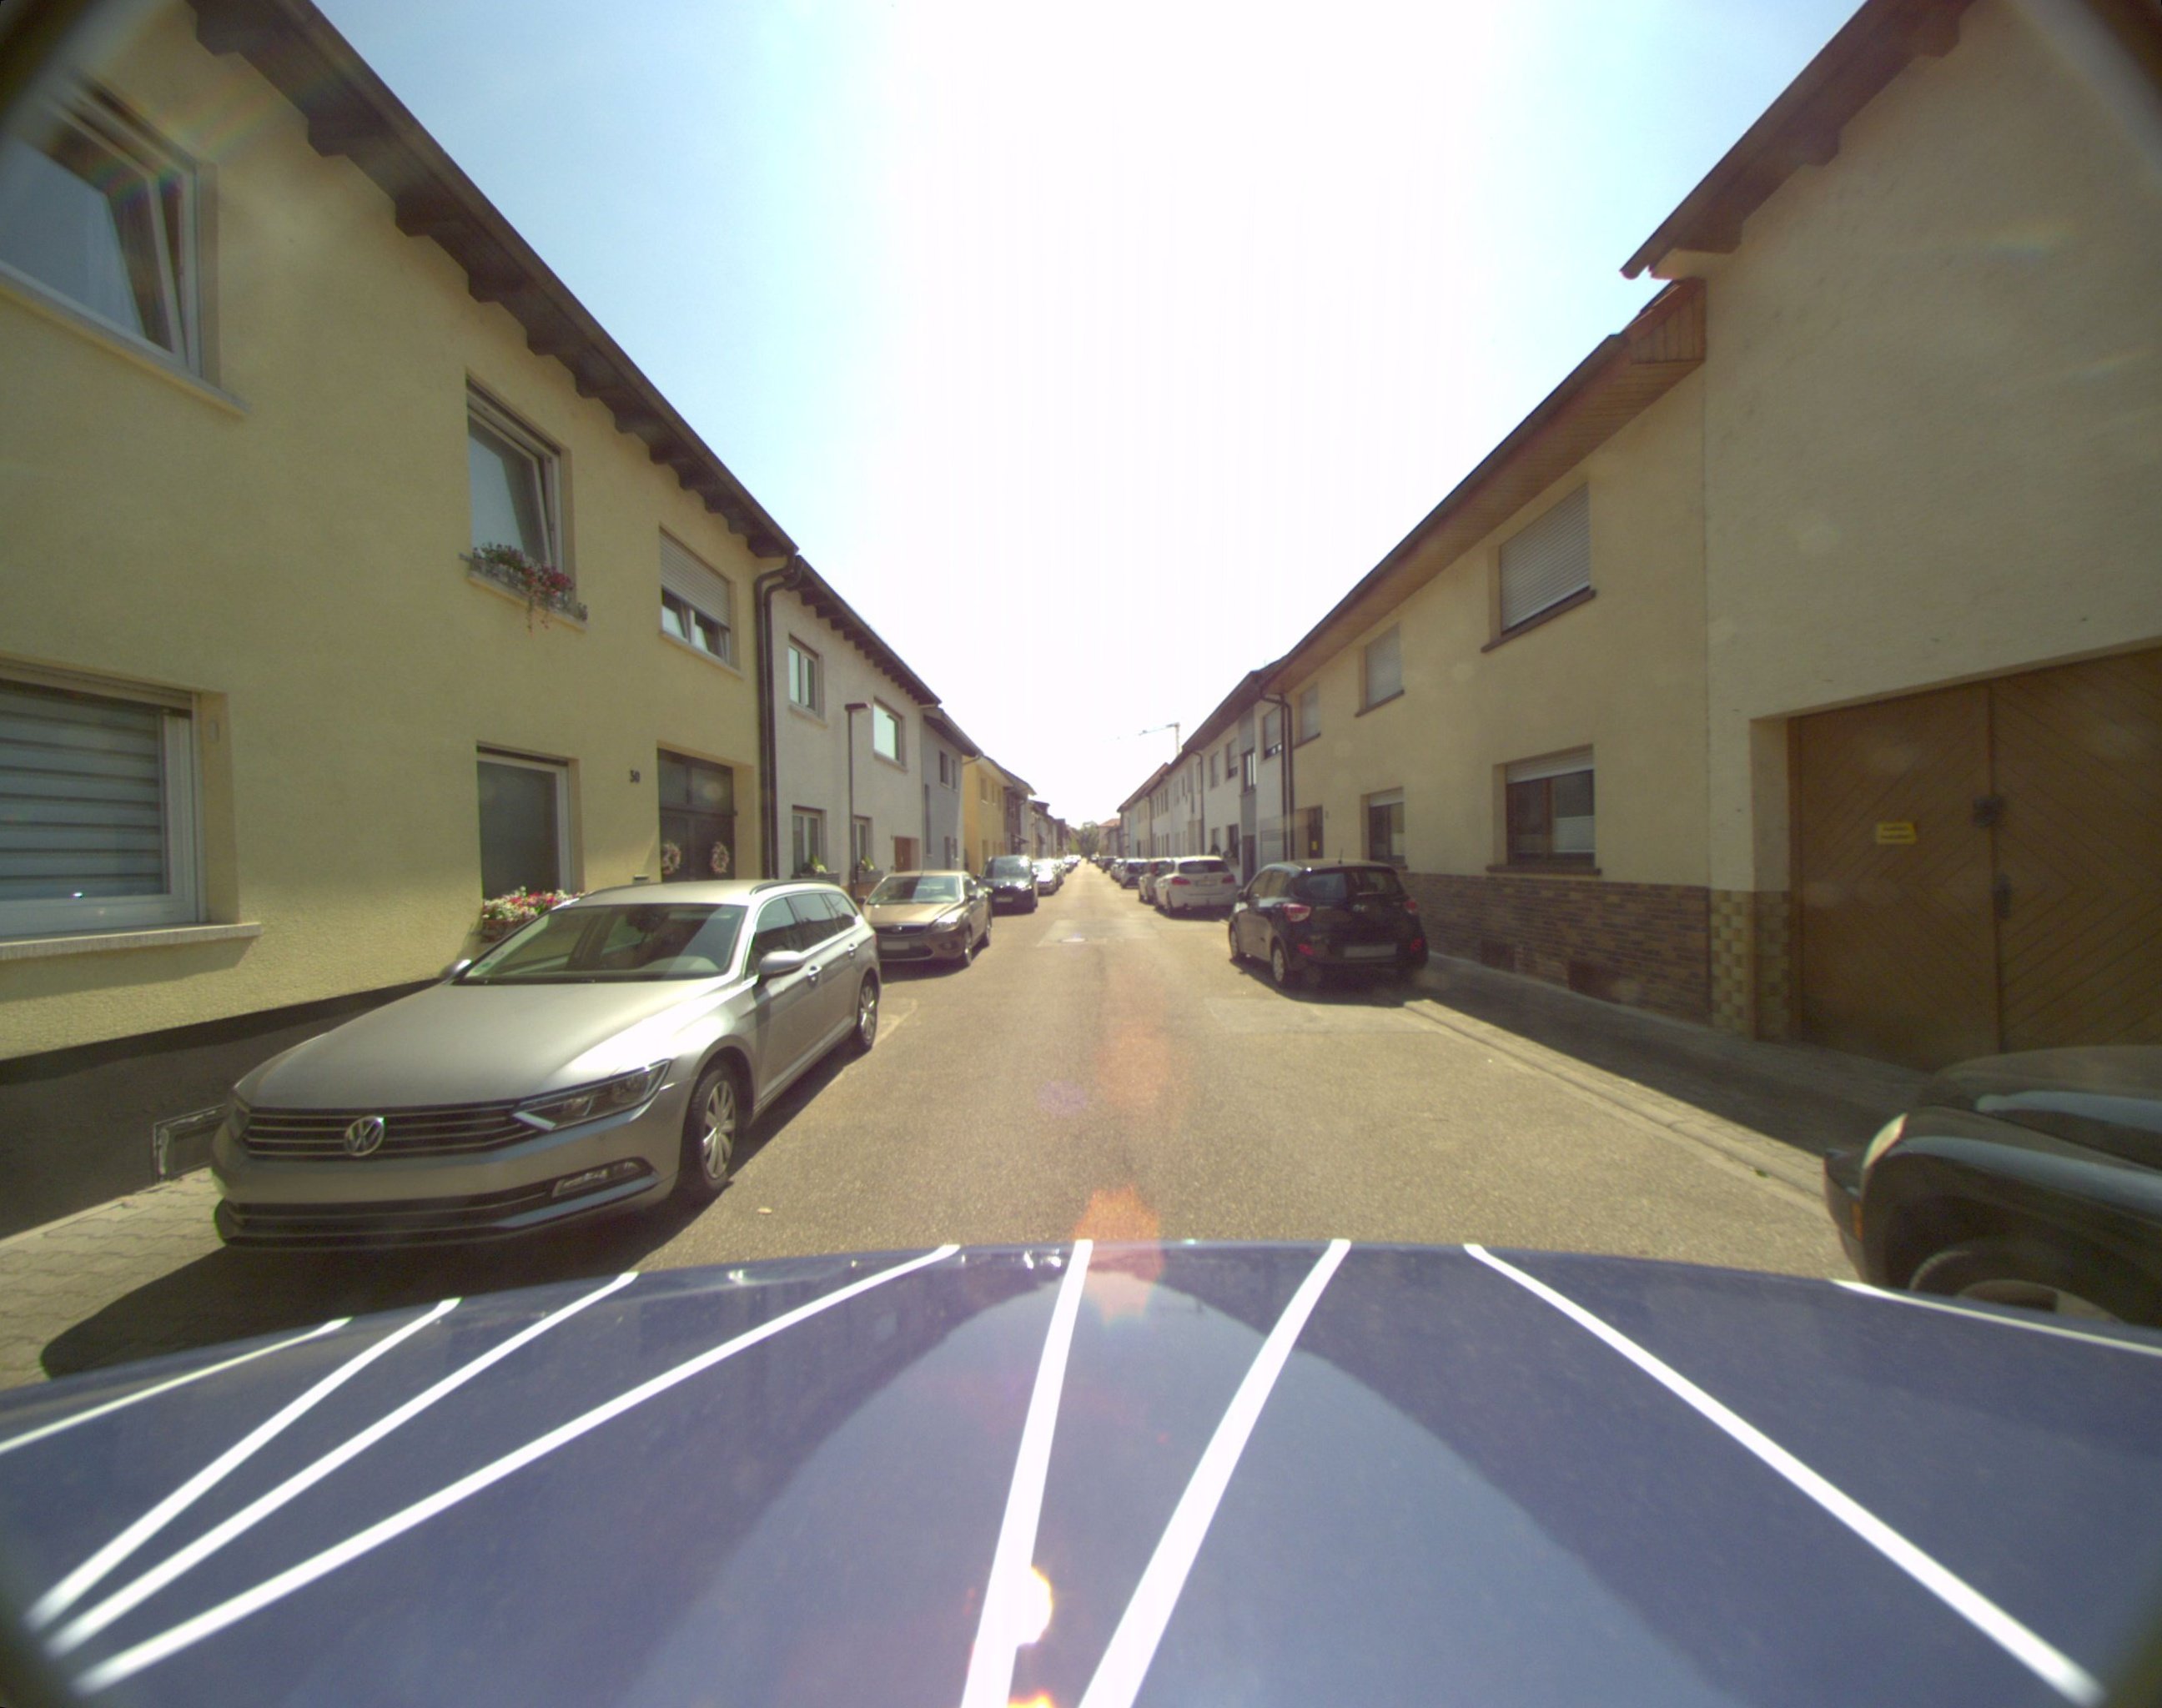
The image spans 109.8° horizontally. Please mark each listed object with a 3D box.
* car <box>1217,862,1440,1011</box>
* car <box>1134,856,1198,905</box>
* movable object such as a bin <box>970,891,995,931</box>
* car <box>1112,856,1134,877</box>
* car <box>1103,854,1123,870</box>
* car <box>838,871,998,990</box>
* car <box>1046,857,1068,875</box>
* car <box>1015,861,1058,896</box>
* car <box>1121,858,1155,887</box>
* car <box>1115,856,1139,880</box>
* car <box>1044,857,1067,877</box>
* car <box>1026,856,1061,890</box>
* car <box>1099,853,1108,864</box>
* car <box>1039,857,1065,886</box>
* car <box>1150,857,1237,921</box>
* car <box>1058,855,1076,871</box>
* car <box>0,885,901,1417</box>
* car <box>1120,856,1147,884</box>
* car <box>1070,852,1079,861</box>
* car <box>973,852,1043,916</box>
[{"bbox_3d":[3.018,0.908,10.144,1.644,1.528,3.941,0,0,-1],"label":"car"},{"bbox_3d":[2.921,0.879,26.750,1.667,1.532,3.687,-1,0,-3],"label":"car"},{"bbox_3d":[-2.362,1.357,18.206,0.551,0.886,0.579,-2,1,-6],"label":"movable object such as a bin"},{"bbox_3d":[3.006,0.892,54.680,1.414,1.446,3.543,0,0,1],"label":"car"},{"bbox_3d":[3.201,0.795,76.522,1.819,1.598,3.887,0,0,0],"label":"car"},{"bbox_3d":[-2.426,1.085,12.334,1.701,1.427,4.102,-2,0,-1],"label":"car"},{"bbox_3d":[-2.091,1.040,66.658,1.761,1.351,4.045,-3,0,0],"label":"car"},{"bbox_3d":[-1.935,1.032,34.144,1.666,1.406,4.248,0,0,0],"label":"car"},{"bbox_3d":[2.918,0.944,39.261,1.606,1.434,3.214,0,0,1],"label":"car"},{"bbox_3d":[2.985,0.888,49.235,1.414,1.446,3.462,0,0,1],"label":"car"},{"bbox_3d":[-2.027,1.010,61.595,1.743,1.459,4.045,-3,0,-1],"label":"car"},{"bbox_3d":[-1.899,0.931,39.474,1.684,1.575,3.961,-2,0,-2],"label":"car"},{"bbox_3d":[3.437,0.714,116.826,1.414,1.582,3.323,0,0,0],"label":"car"},{"bbox_3d":[-1.691,1.012,45.090,1.403,1.518,3.397,-3,0,-1],"label":"car"},{"bbox_3d":[3.030,0.893,21.178,1.667,1.540,3.941,-1,1,-2],"label":"car"},{"bbox_3d":[-1.464,0.935,79.567,1.736,1.502,3.623,-3,0,0],"label":"car"},{"bbox_3d":[-2.620,1.045,4.818,1.843,1.440,4.775,-1,0,-1],"label":"car"},{"bbox_3d":[3.018,0.885,44.036,1.414,1.519,3.025,0,0,1],"label":"car"},{"bbox_3d":[-1.102,0.464,133.605,1.414,1.604,3.323,0,0,0],"label":"car"},{"bbox_3d":[-2.155,0.843,23.586,1.701,1.767,4.199,0,1,1],"label":"car"}]
